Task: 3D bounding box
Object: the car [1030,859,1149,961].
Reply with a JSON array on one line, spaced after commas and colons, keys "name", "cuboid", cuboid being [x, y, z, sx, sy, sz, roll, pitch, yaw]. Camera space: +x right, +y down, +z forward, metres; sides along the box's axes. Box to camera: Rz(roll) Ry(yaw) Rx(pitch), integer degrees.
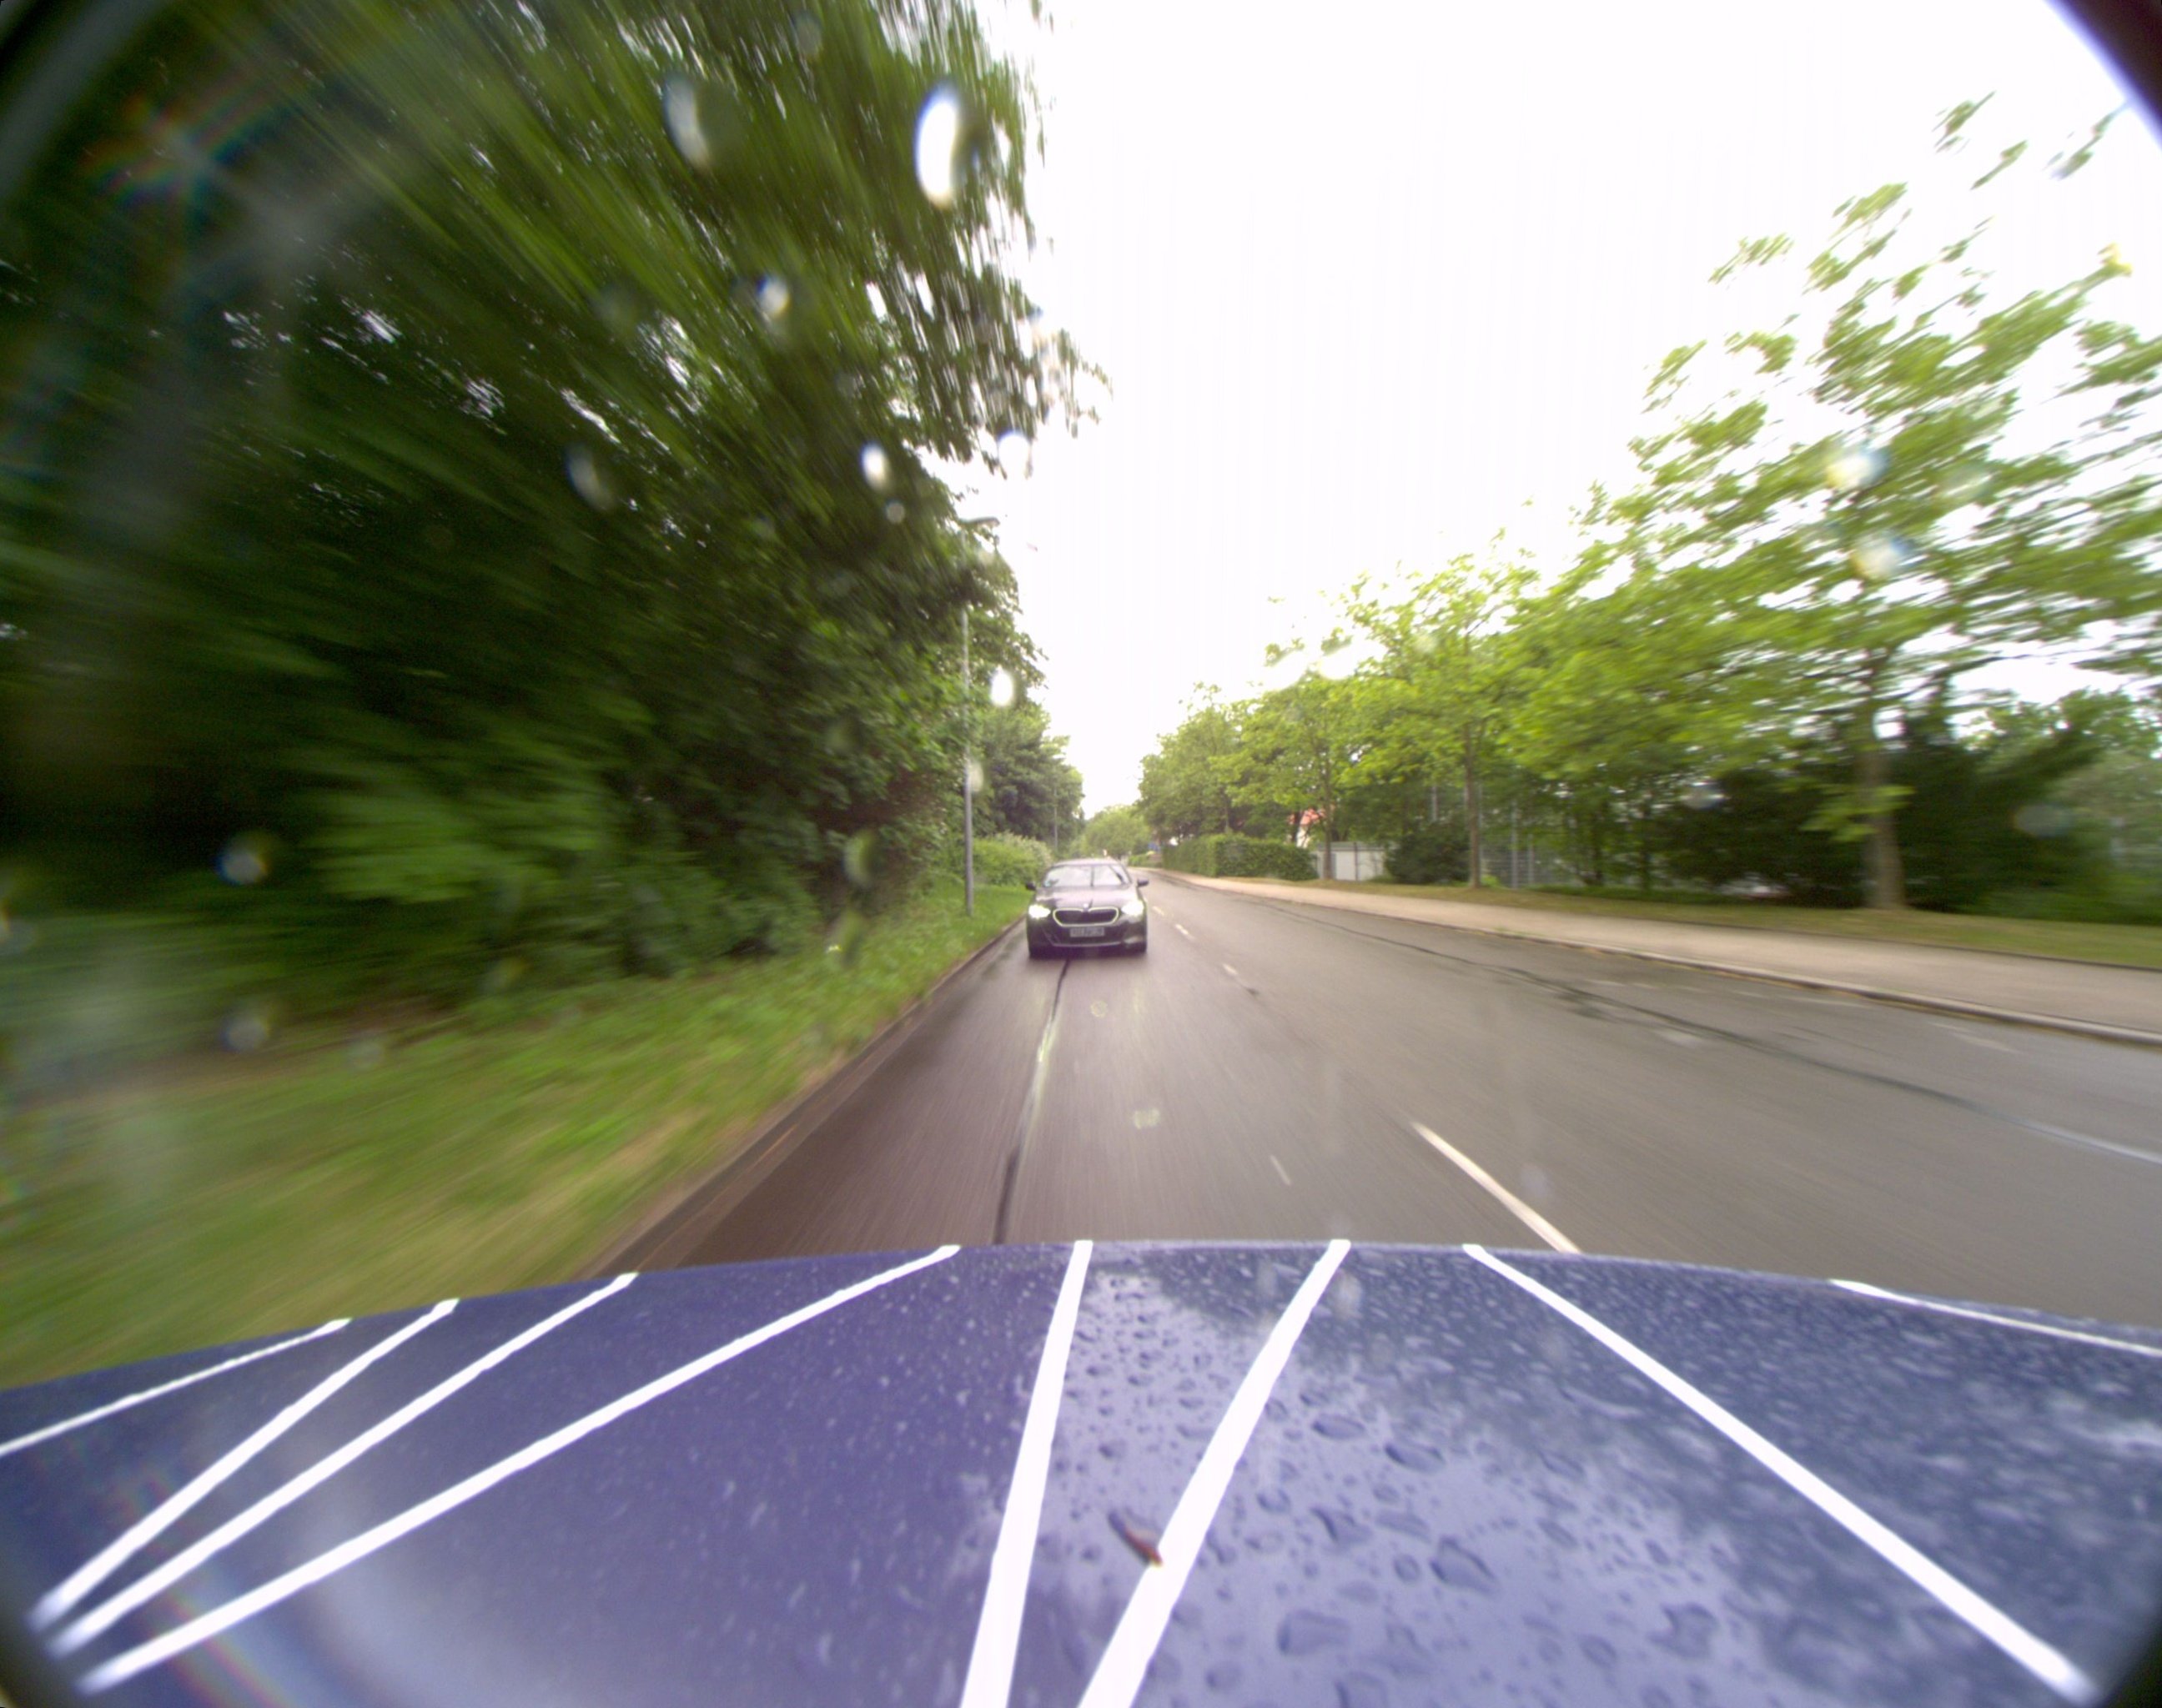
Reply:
[{"name": "car", "cuboid": [0.135, 0.904, 14.222, 1.832, 1.499, 4.498, -2, 0, 0]}]
